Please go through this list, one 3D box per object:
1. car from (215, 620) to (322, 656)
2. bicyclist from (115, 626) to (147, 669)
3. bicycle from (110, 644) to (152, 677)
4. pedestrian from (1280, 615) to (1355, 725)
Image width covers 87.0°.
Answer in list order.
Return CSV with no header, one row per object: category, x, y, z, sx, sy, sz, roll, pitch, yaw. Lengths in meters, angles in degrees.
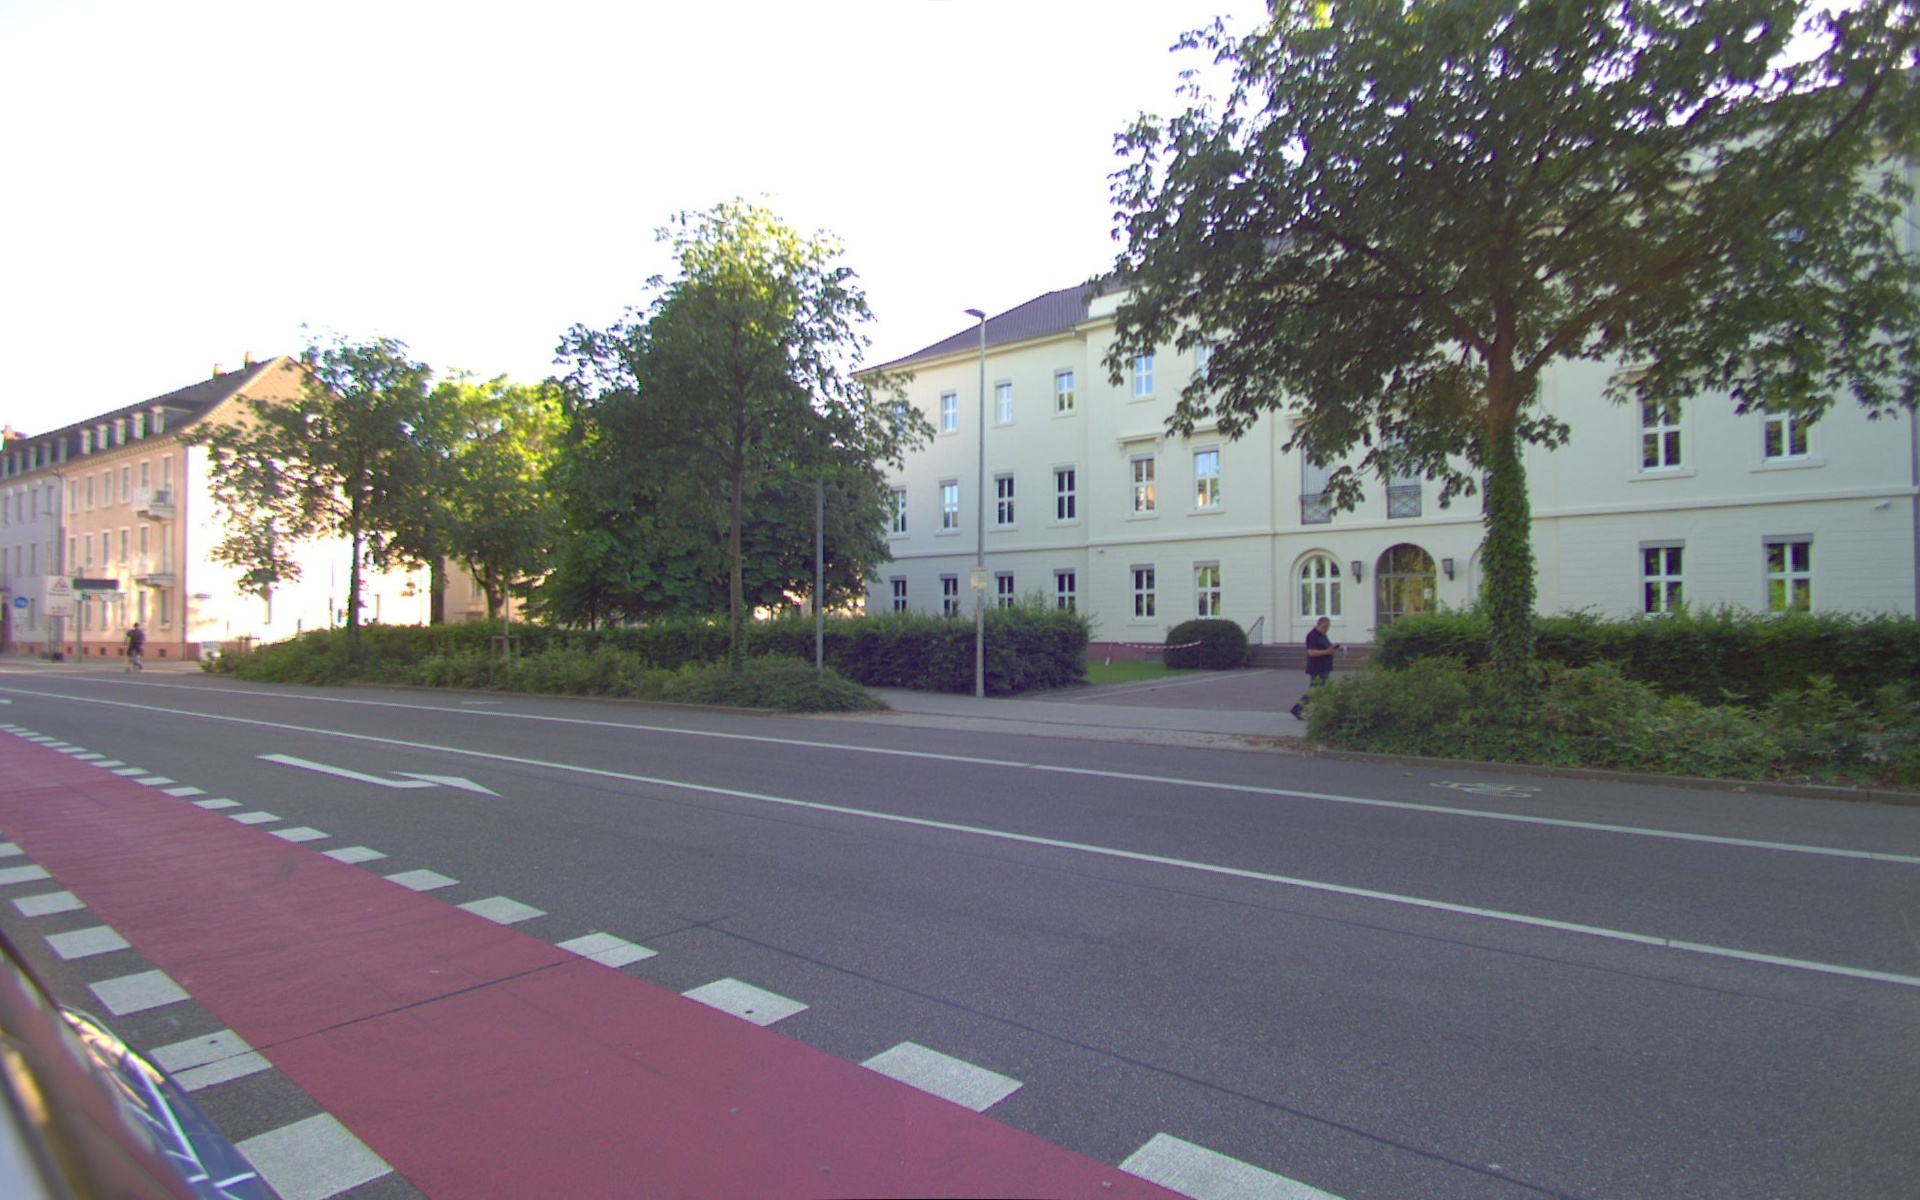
car,-34.451,1.844,50.507,1.993,1.674,3.958,-1,-1,31
bicyclist,-30.743,1.763,37.523,0.837,1.574,0.683,-2,-4,37
bicycle,-30.687,2.220,37.450,2.242,1.168,0.688,-2,-4,38
pedestrian,5.837,1.124,16.532,0.965,1.733,0.827,-2,-3,34
